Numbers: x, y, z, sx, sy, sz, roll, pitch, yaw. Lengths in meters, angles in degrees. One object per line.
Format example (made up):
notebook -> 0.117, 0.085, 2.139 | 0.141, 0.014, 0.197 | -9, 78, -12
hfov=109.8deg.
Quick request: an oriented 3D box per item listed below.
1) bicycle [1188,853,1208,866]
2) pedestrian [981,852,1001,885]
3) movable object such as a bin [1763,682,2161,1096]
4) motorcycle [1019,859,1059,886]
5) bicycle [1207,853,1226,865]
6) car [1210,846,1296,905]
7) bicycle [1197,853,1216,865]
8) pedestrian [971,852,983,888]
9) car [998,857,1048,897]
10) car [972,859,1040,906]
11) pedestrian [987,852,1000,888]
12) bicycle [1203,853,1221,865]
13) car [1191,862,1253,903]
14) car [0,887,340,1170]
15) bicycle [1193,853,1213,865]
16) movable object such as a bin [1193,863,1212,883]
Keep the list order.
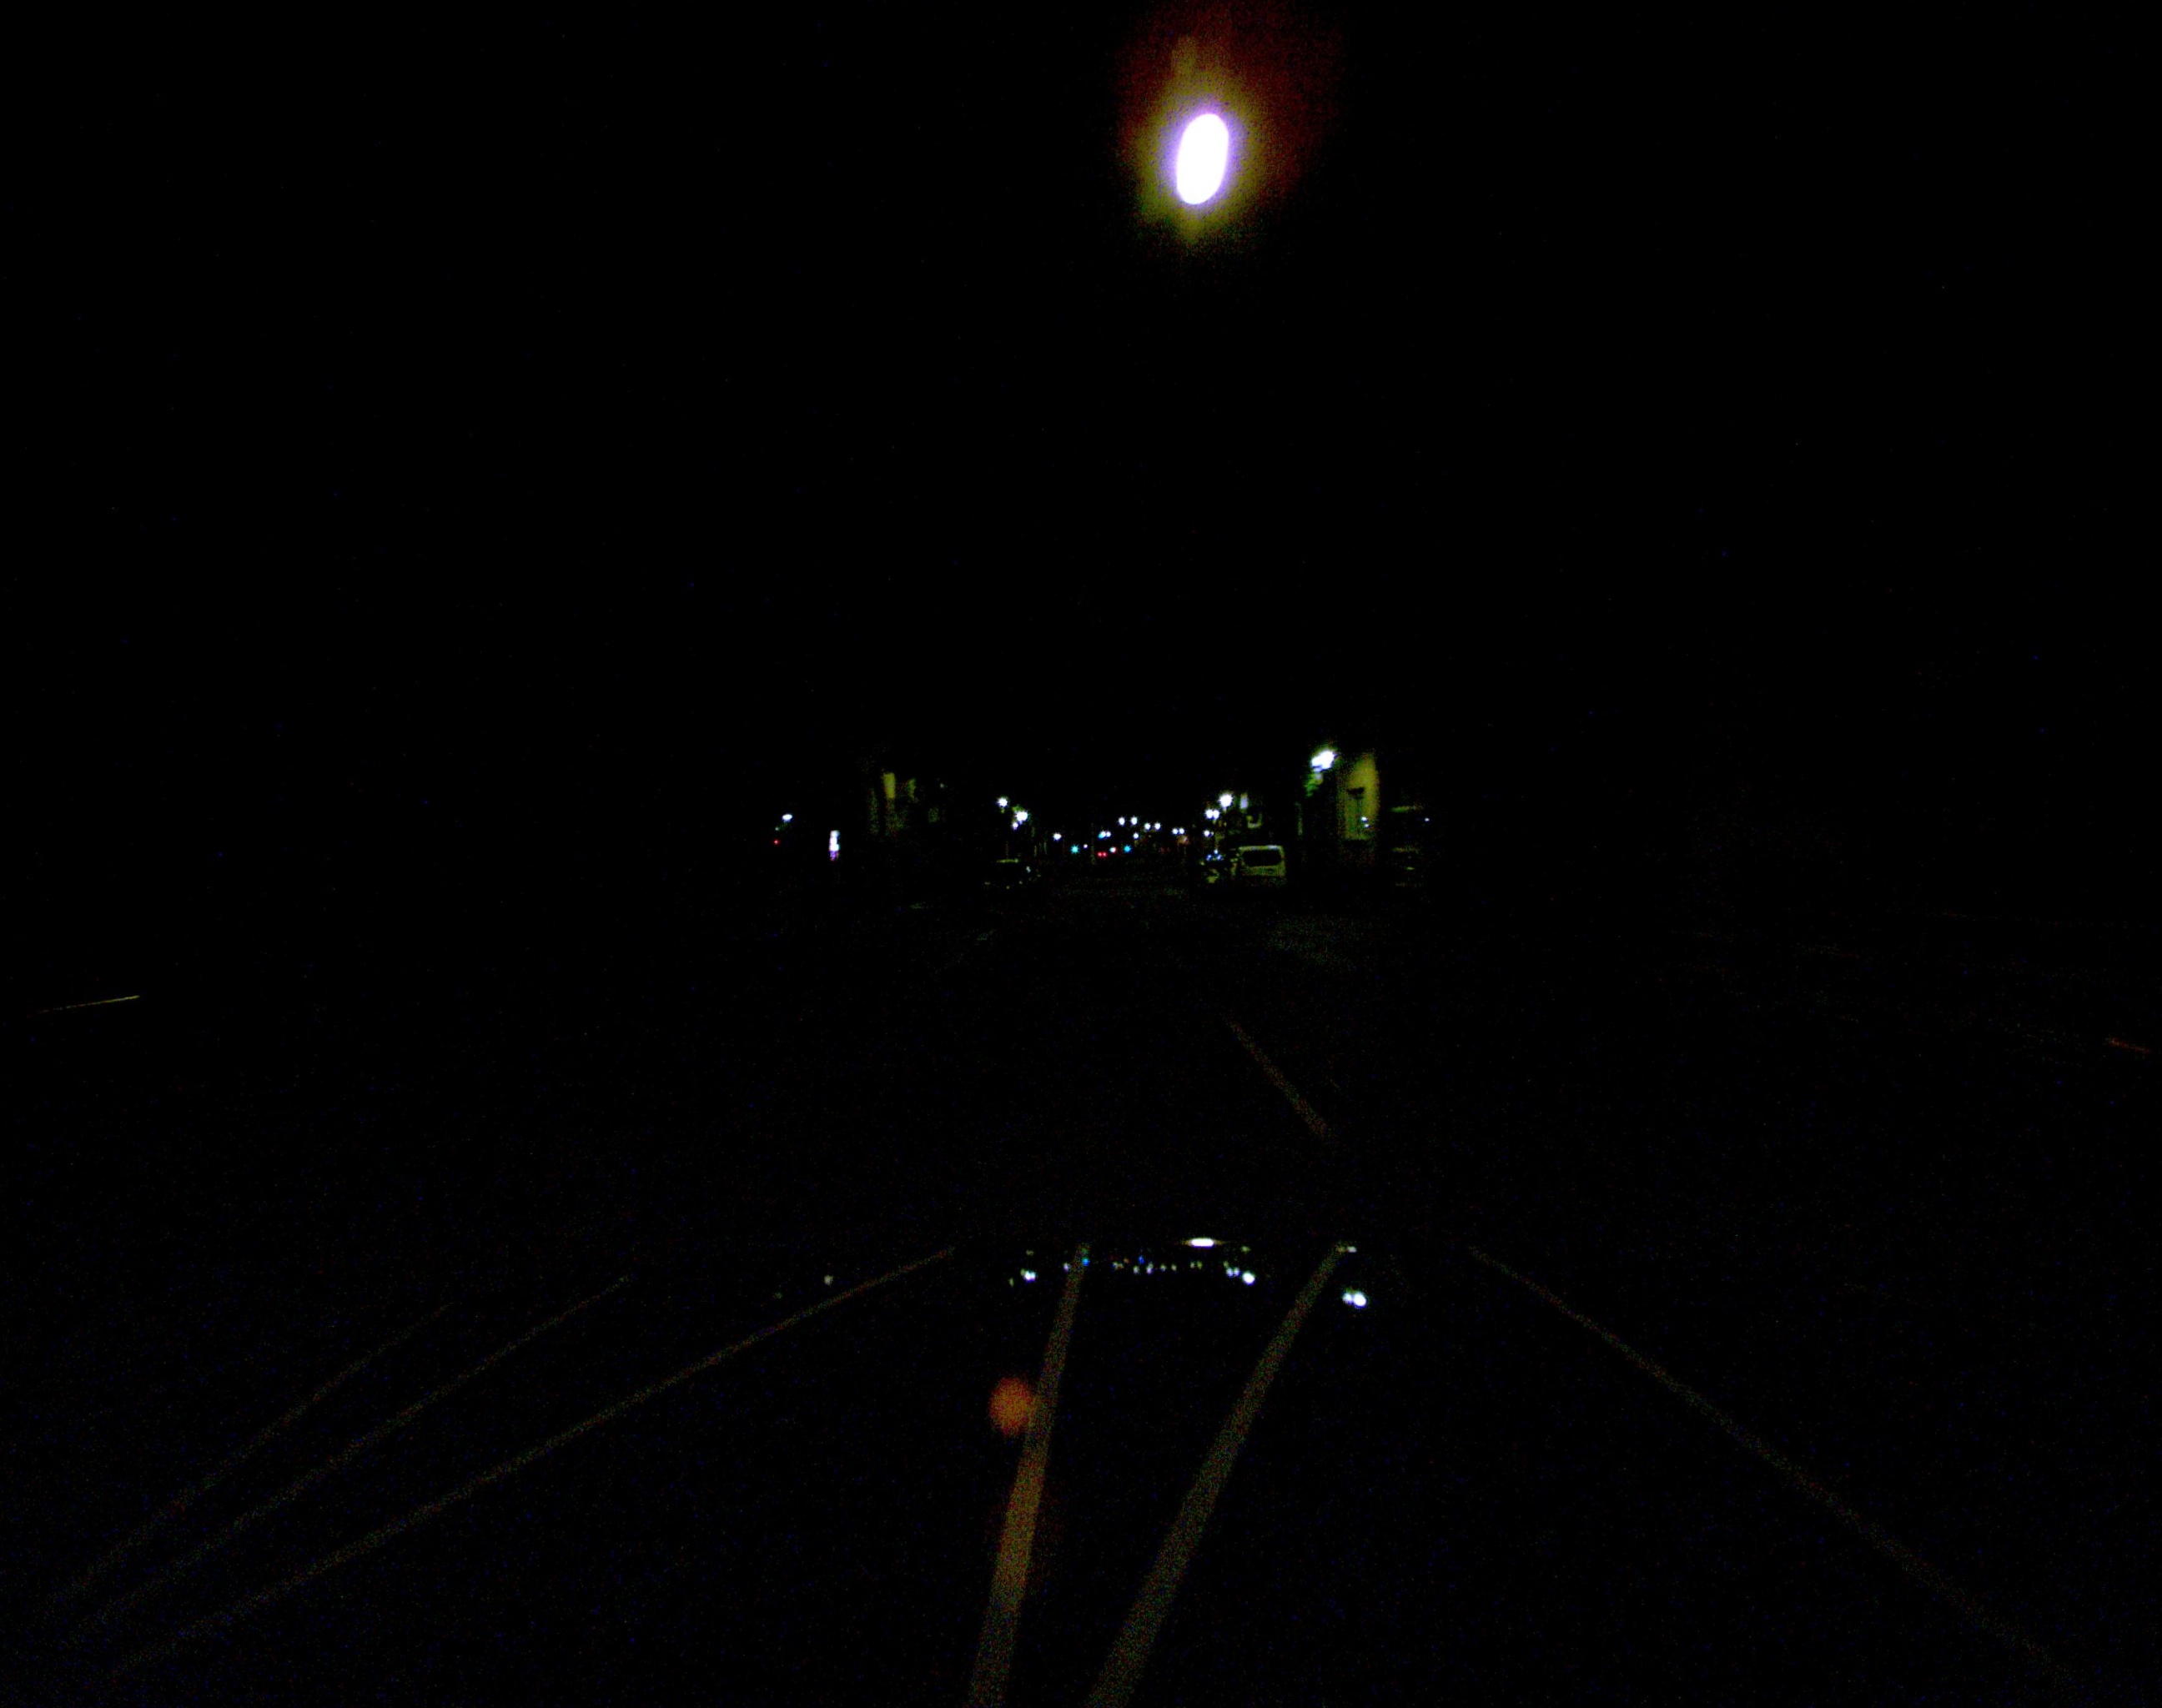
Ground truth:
bicycle -> 10.995, 0.502, 71.520 | 1.783, 1.144, 0.761 | 0, 1, 43
pedestrian -> -4.586, 0.732, 38.583 | 0.809, 1.621, 0.966 | -2, 1, 2
movable object such as a bin -> 7.635, 0.217, 5.722 | 1.575, 2.611, 3.910 | 0, 0, 2
motorcycle -> -2.203, 0.943, 39.982 | 1.948, 1.345, 0.761 | -1, 1, -34
bicycle -> 13.108, 0.452, 73.576 | 0.583, 1.144, 1.773 | -2, 1, -41
car -> 5.895, 0.671, 26.664 | 1.887, 1.832, 4.814 | -2, 0, 0
bicycle -> 12.029, 0.486, 72.665 | 1.772, 1.144, 0.583 | 0, 1, 43
pedestrian -> -4.955, 0.762, 36.251 | 0.477, 1.699, 0.571 | -1, 1, 2
car -> -2.366, 0.906, 31.849 | 1.736, 1.492, 4.467 | 1, 0, 0
car -> -2.540, 0.944, 26.578 | 1.740, 1.445, 4.001 | -1, 0, 3
pedestrian -> -4.174, 0.762, 36.236 | 0.508, 1.699, 0.705 | -1, 1, 2
bicycle -> 12.625, 0.476, 73.149 | 0.583, 1.144, 1.773 | -2, 1, -40
car -> 5.849, 1.150, 32.084 | 1.843, 1.441, 4.881 | -2, 1, 2
car -> -7.879, 1.026, 5.038 | 4.024, 1.414, 1.851 | -1, 2, -1
bicycle -> 11.556, 0.494, 72.120 | 1.772, 1.144, 0.615 | 0, 1, 43
movable object such as a bin -> 6.343, 0.984, 39.727 | 0.691, 1.043, 0.624 | -4, 2, -39
